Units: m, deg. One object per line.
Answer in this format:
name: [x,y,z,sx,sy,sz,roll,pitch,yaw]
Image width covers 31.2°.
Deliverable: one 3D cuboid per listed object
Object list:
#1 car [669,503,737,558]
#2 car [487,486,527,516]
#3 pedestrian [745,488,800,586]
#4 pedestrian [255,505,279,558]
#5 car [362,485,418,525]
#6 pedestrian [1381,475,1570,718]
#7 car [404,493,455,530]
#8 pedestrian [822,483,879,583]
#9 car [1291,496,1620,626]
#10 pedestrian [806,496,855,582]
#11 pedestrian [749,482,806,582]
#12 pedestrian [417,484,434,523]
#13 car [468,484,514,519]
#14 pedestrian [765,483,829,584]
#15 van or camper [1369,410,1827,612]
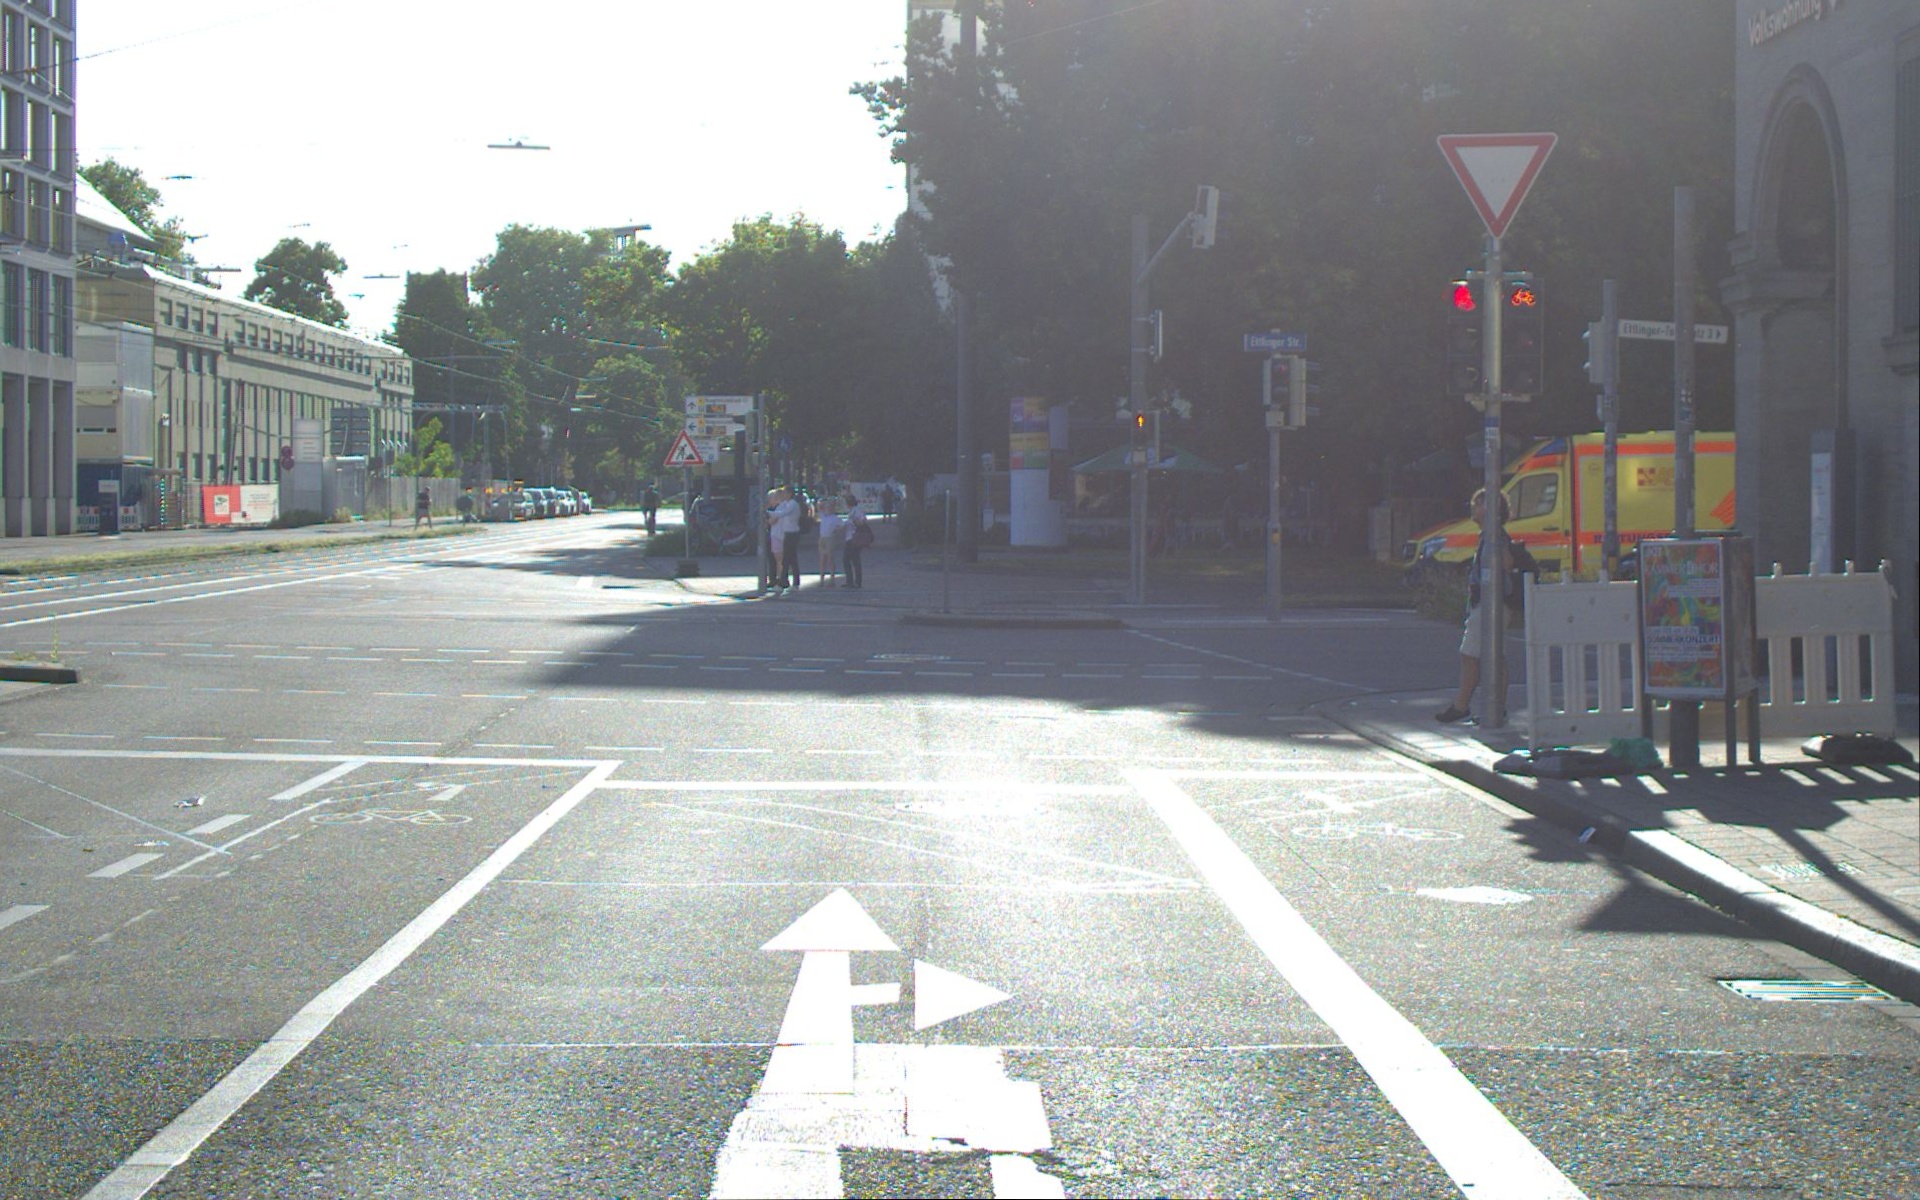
car: [-7.310,-1.968,98.078,1.684,1.495,3.509,2,1,-1]
car: [-23.135,-5.038,175.616,1.609,1.493,3.806,0,1,-1]
pedestrian: [-3.429,-1.150,62.915,0.847,1.778,0.780,0,1,-17]
pedestrian: [-17.233,-1.702,85.525,0.511,1.324,0.369,1,1,1]
car: [-24.670,-4.129,148.906,1.819,1.706,3.806,0,1,-1]
pedestrian: [3.712,-0.038,24.835,1.039,1.715,1.035,0,1,-12]
car: [-24.664,-4.132,159.880,1.819,1.706,3.806,0,1,-1]
pedestrian: [-1.970,-1.207,61.803,0.847,1.778,0.780,0,1,-17]
car: [6.960,-0.545,48.569,4.314,1.641,1.888,2,1,0]
pedestrian: [-2.352,-1.116,62.480,0.762,1.553,0.588,0,1,-17]
pedestrian: [-3.297,-1.231,62.084,0.847,1.778,0.780,0,1,-17]
pedestrian: [-20.462,-3.685,131.574,0.524,1.479,0.438,2,0,-2]
car: [-23.405,-4.910,171.623,1.819,1.706,3.806,0,1,-1]
pedestrian: [-2.882,-1.173,60.610,0.965,1.778,0.780,0,1,-17]
van or camper: [9.956,-1.386,54.255,6.709,2.852,2.910,2,0,4]
